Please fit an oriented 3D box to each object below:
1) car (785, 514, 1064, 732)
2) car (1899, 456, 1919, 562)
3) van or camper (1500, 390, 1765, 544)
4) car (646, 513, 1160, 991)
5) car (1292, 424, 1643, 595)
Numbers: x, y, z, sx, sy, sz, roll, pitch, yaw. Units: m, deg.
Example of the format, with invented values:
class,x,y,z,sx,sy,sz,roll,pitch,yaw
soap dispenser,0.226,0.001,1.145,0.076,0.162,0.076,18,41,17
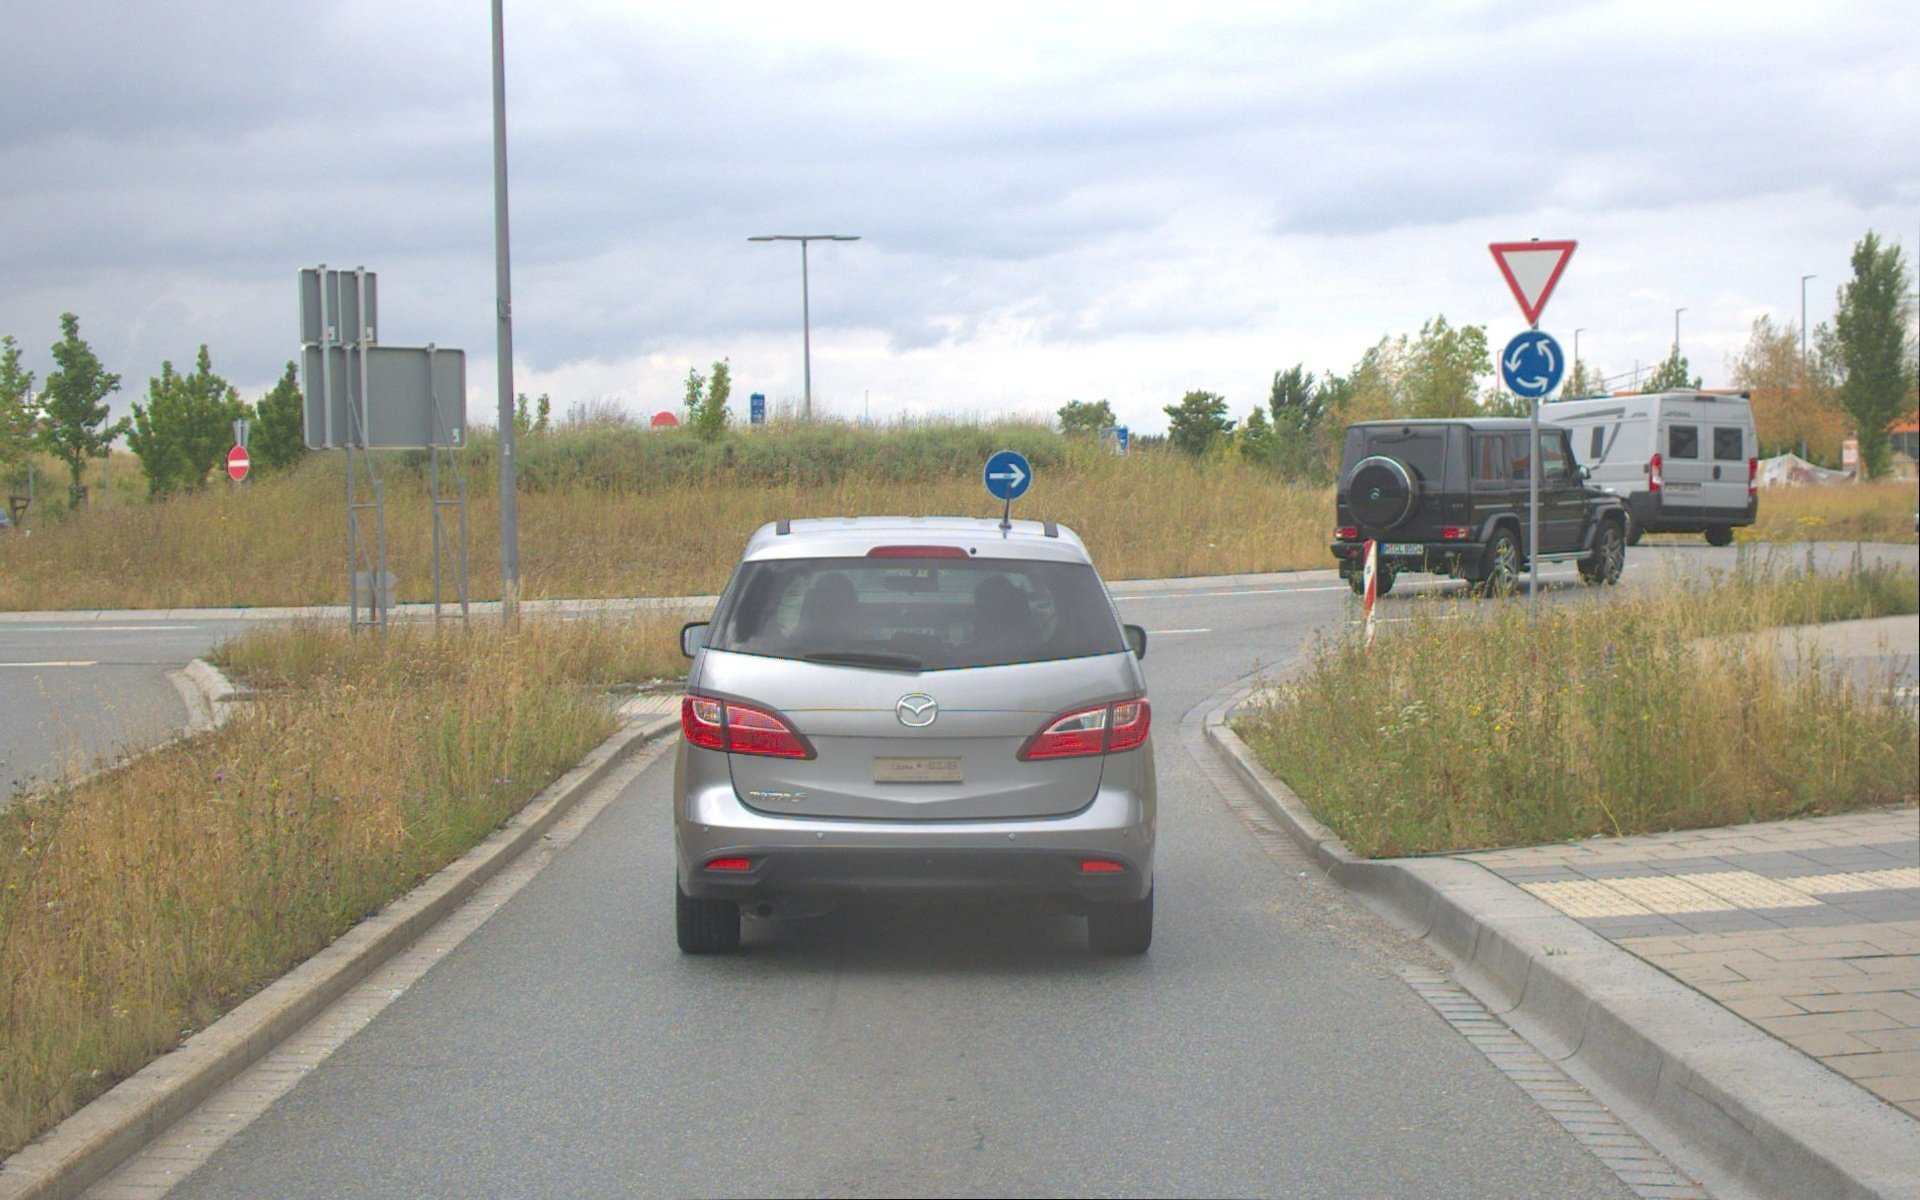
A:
class,x,y,z,sx,sy,sz,roll,pitch,yaw
car,-0.183,0.104,25.116,1.845,1.413,4.225,-1,2,2
car,18.196,-1.539,57.596,4.604,1.751,1.999,0,1,11
van or camper,11.345,-2.224,58.402,2.302,2.497,5.208,-1,1,-16
car,-0.237,0.468,13.505,1.729,1.594,3.807,0,2,-1
car,5.842,-1.019,39.065,2.062,1.819,4.777,0,1,34
